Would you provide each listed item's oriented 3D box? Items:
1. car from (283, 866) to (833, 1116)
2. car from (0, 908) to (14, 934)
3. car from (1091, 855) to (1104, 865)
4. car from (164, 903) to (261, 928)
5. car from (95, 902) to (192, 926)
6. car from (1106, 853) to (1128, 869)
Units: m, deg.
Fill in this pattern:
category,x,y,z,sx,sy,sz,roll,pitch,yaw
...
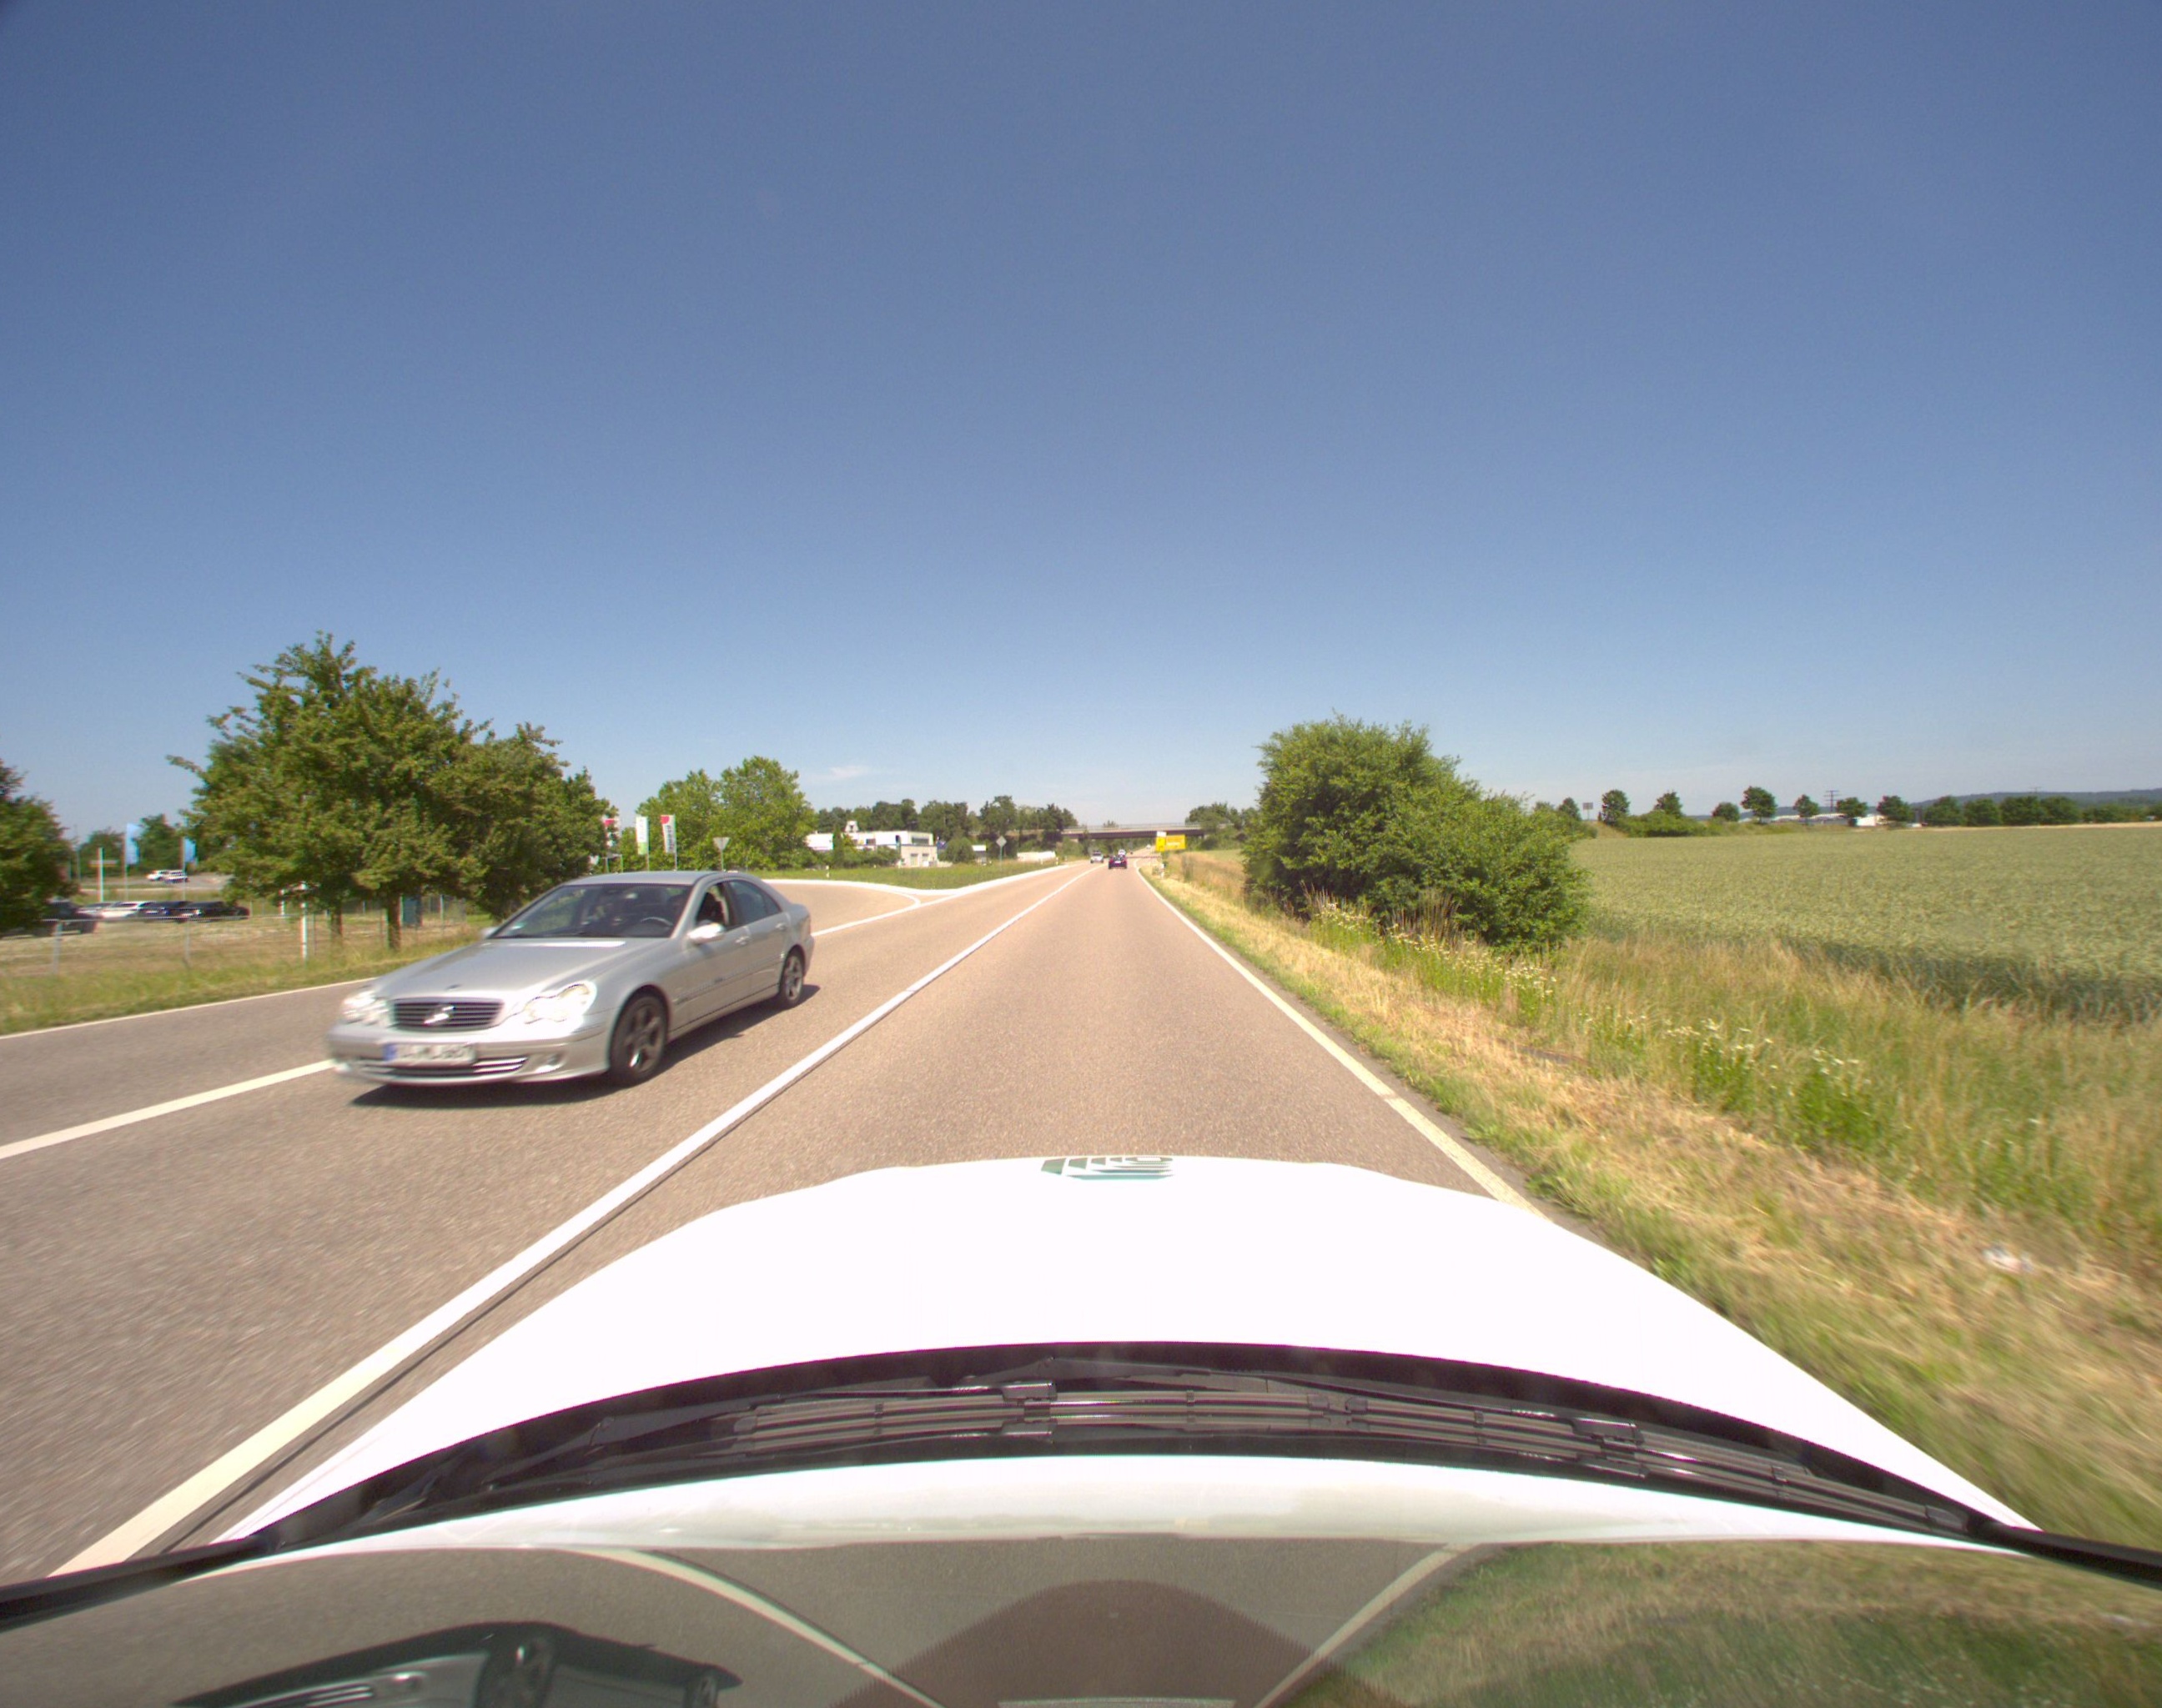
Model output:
category,x,y,z,sx,sy,sz,roll,pitch,yaw
car,-3.734,0.834,6.993,1.725,1.391,4.492,0,0,1
car,-61.637,3.788,44.328,1.975,1.394,4.024,-2,0,28
car,2.548,0.902,124.418,1.825,1.567,3.334,-2,0,0
car,-57.986,4.084,54.445,1.975,1.394,4.024,-2,0,28
car,-64.738,4.126,56.329,1.975,1.394,4.024,-2,0,28
car,3.466,0.660,78.092,1.809,1.441,3.997,-1,0,-2
